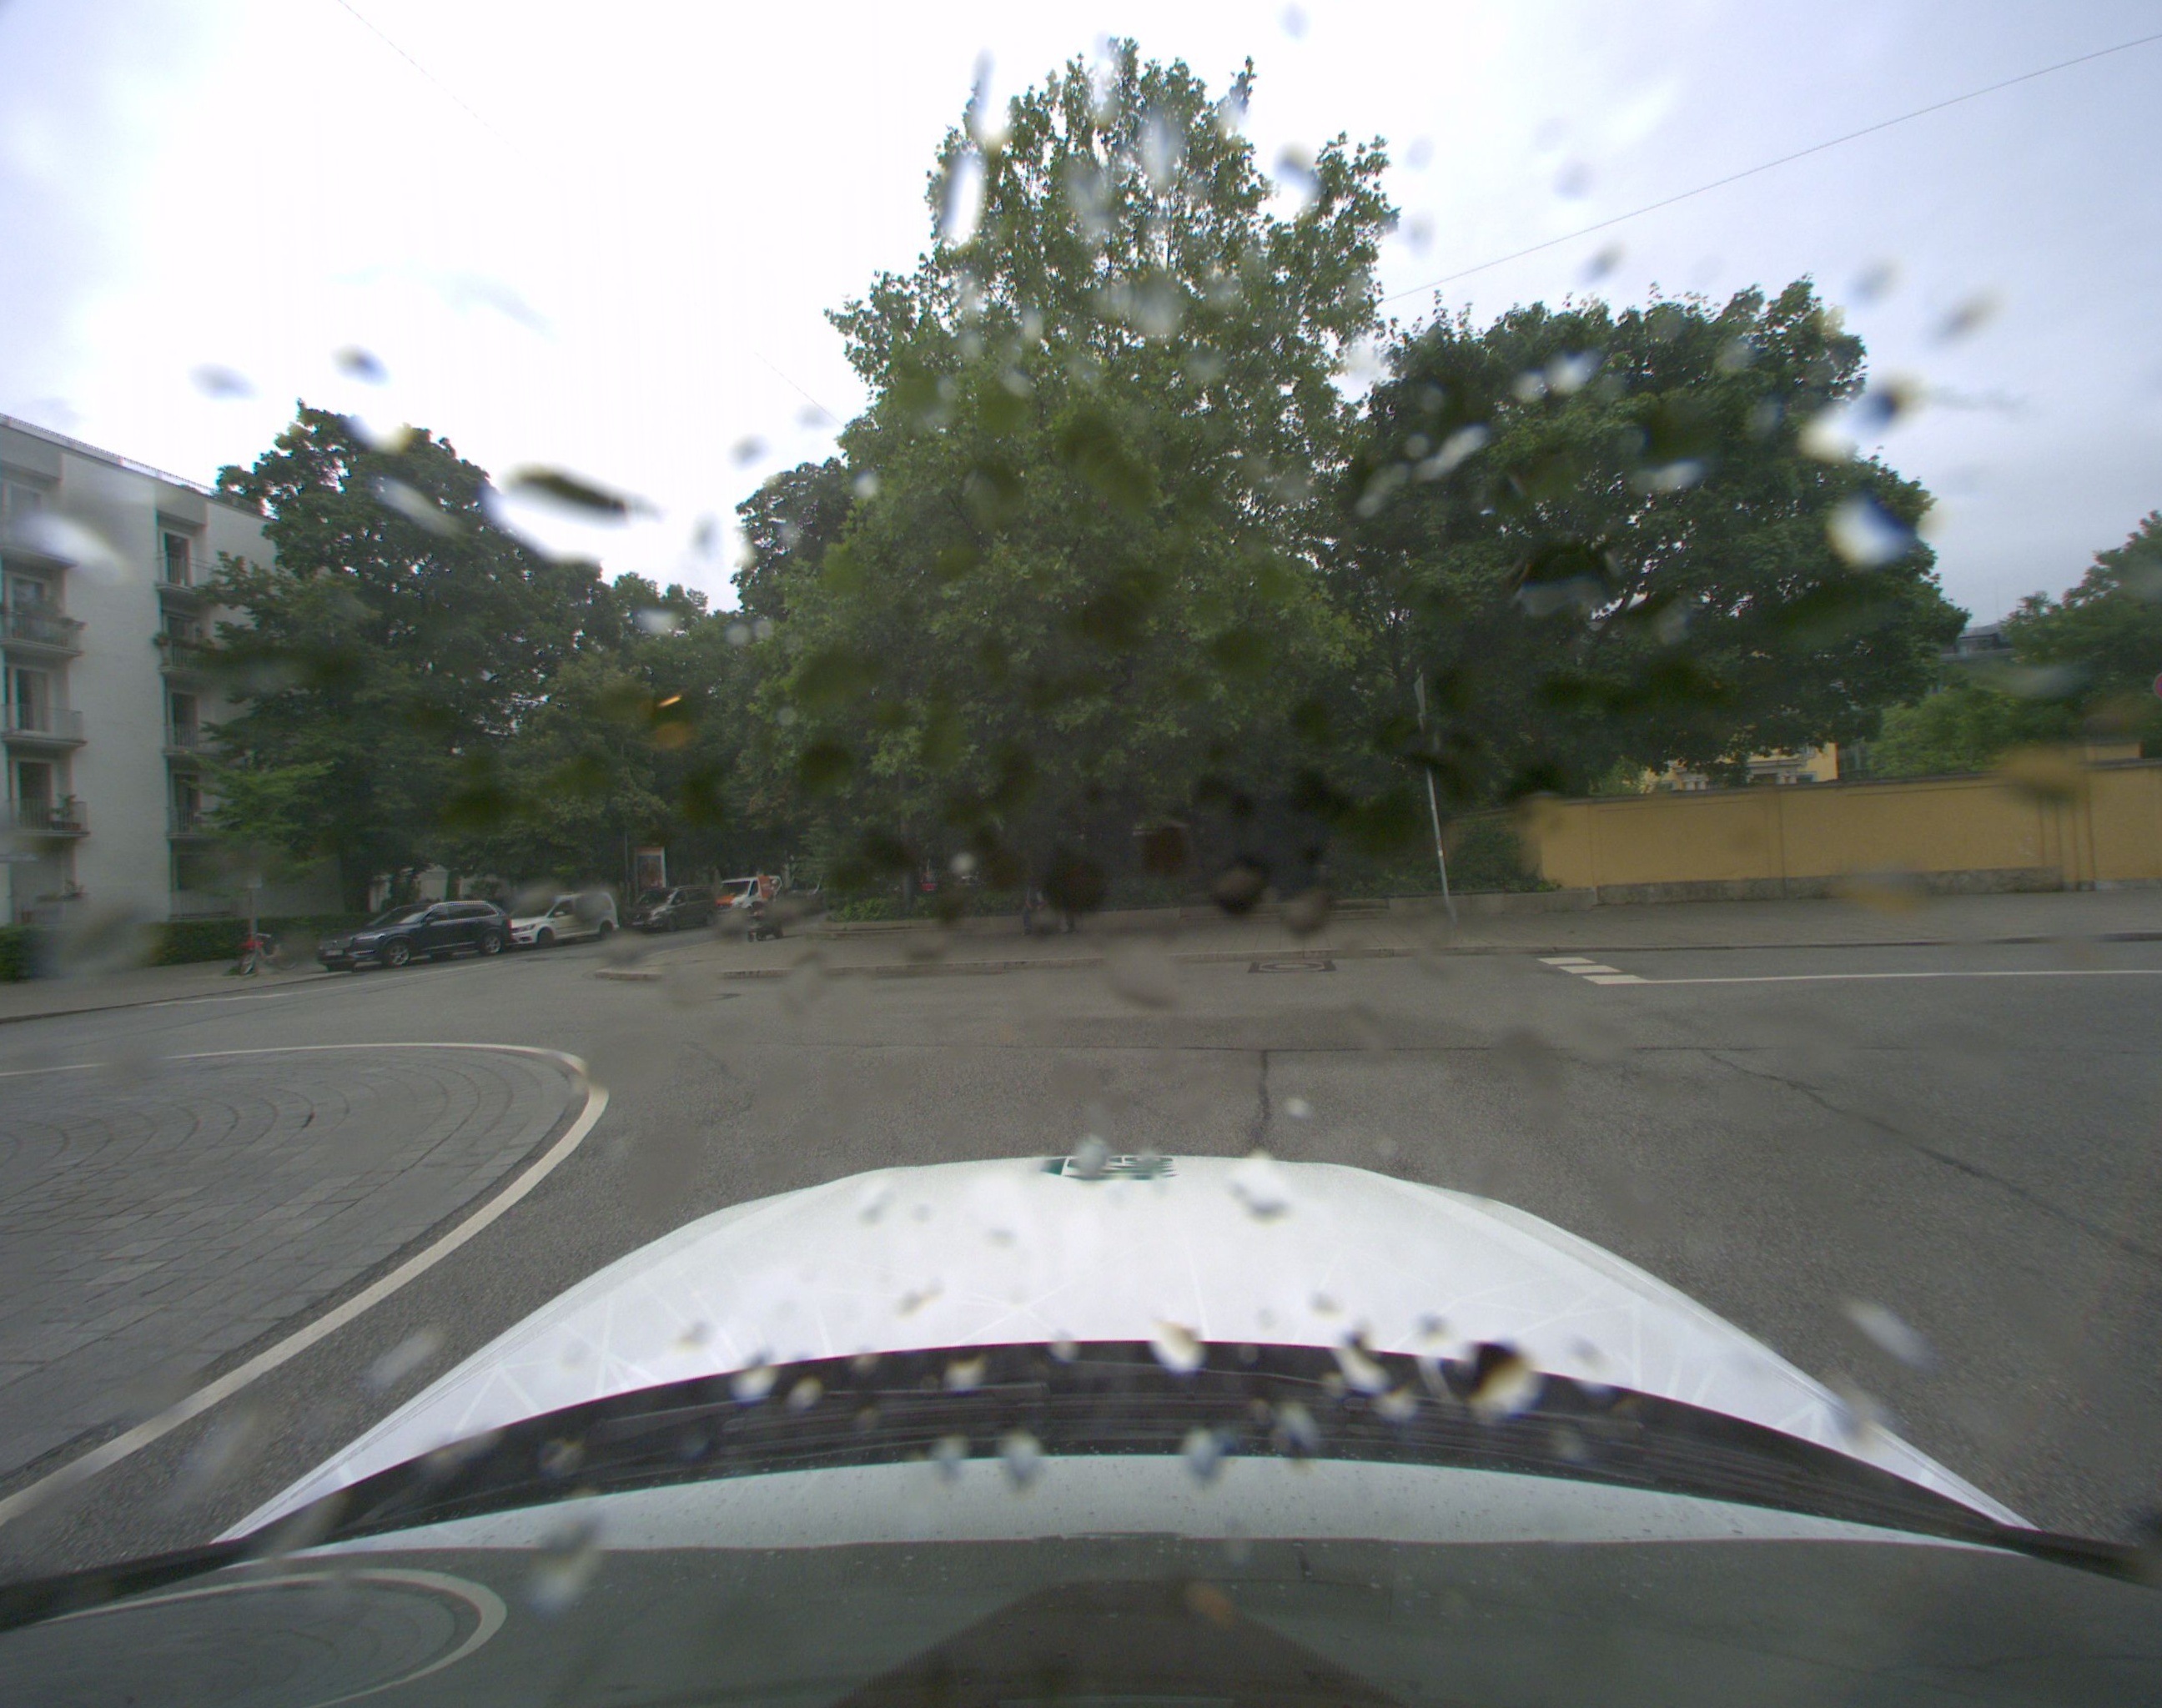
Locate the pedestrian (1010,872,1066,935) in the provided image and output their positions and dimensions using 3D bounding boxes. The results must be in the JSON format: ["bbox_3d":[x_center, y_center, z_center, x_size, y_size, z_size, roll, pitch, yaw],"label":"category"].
[{"bbox_3d":[-0.871,1.007,16.751,0.805,1.189,0.923,-4,-1,18],"label":"pedestrian"}]

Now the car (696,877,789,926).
[{"bbox_3d":[-17.636,2.408,42.769,2.099,2.251,5.205,-4,-1,7],"label":"car"}]

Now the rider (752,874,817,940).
[{"bbox_3d":[-8.202,1.445,22.542,1.073,1.667,1.145,-7,-2,19],"label":"rider"}]

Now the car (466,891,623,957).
[{"bbox_3d":[-18.844,2.384,28.943,1.916,1.895,4.875,-4,-1,6],"label":"car"}]

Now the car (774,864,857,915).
[{"bbox_3d":[-16.836,2.153,52.144,2.322,2.922,6.592,-4,-1,7],"label":"car"}]

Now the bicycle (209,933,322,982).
[{"bbox_3d":[-21.966,2.763,22.003,0.906,1.051,1.976,-4,-1,8],"label":"bicycle"}]

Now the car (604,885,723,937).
[{"bbox_3d":[-18.061,2.407,35.549,2.054,1.859,4.996,-4,-1,7],"label":"car"}]

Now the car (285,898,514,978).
[{"bbox_3d":[-19.362,2.308,23.515,2.054,1.767,4.917,-4,-1,7],"label":"car"}]

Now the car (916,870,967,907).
[{"bbox_3d":[-8.218,1.999,48.456,2.034,1.922,4.447,-4,-1,1],"label":"car"}]

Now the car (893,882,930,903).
[{"bbox_3d":[-14.857,3.363,71.530,1.886,1.571,4.081,-4,-1,6],"label":"car"}]

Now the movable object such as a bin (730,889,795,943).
[{"bbox_3d":[-8.478,1.646,21.709,1.069,1.267,1.092,-7,-2,19],"label":"movable object such as a bin"}]
